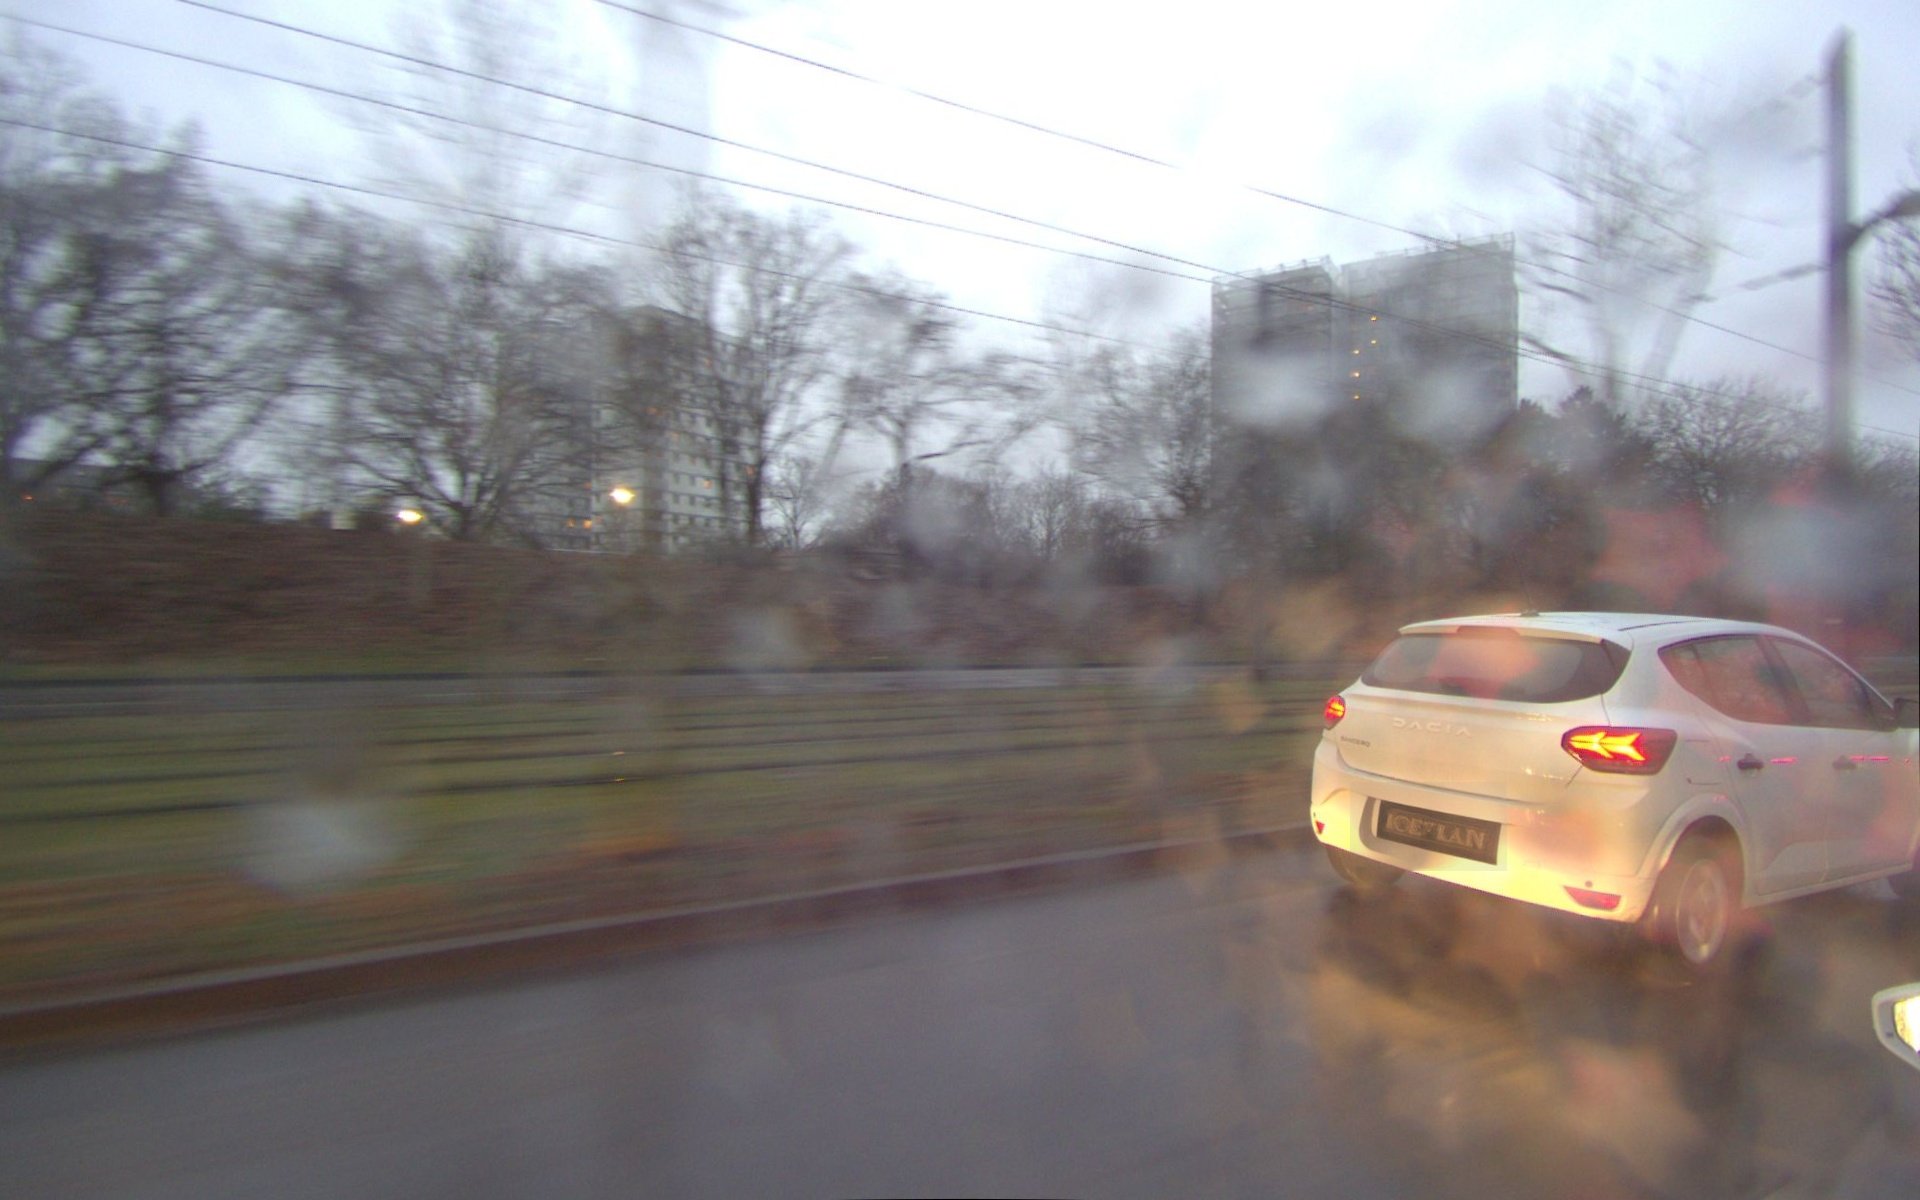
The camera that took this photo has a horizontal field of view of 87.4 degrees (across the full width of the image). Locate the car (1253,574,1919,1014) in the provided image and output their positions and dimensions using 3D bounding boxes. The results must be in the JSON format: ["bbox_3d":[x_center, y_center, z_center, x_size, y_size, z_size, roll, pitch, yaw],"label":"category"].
[{"bbox_3d":[3.649,0.726,5.297,4.085,1.545,1.701,1,-1,-30],"label":"car"}]
